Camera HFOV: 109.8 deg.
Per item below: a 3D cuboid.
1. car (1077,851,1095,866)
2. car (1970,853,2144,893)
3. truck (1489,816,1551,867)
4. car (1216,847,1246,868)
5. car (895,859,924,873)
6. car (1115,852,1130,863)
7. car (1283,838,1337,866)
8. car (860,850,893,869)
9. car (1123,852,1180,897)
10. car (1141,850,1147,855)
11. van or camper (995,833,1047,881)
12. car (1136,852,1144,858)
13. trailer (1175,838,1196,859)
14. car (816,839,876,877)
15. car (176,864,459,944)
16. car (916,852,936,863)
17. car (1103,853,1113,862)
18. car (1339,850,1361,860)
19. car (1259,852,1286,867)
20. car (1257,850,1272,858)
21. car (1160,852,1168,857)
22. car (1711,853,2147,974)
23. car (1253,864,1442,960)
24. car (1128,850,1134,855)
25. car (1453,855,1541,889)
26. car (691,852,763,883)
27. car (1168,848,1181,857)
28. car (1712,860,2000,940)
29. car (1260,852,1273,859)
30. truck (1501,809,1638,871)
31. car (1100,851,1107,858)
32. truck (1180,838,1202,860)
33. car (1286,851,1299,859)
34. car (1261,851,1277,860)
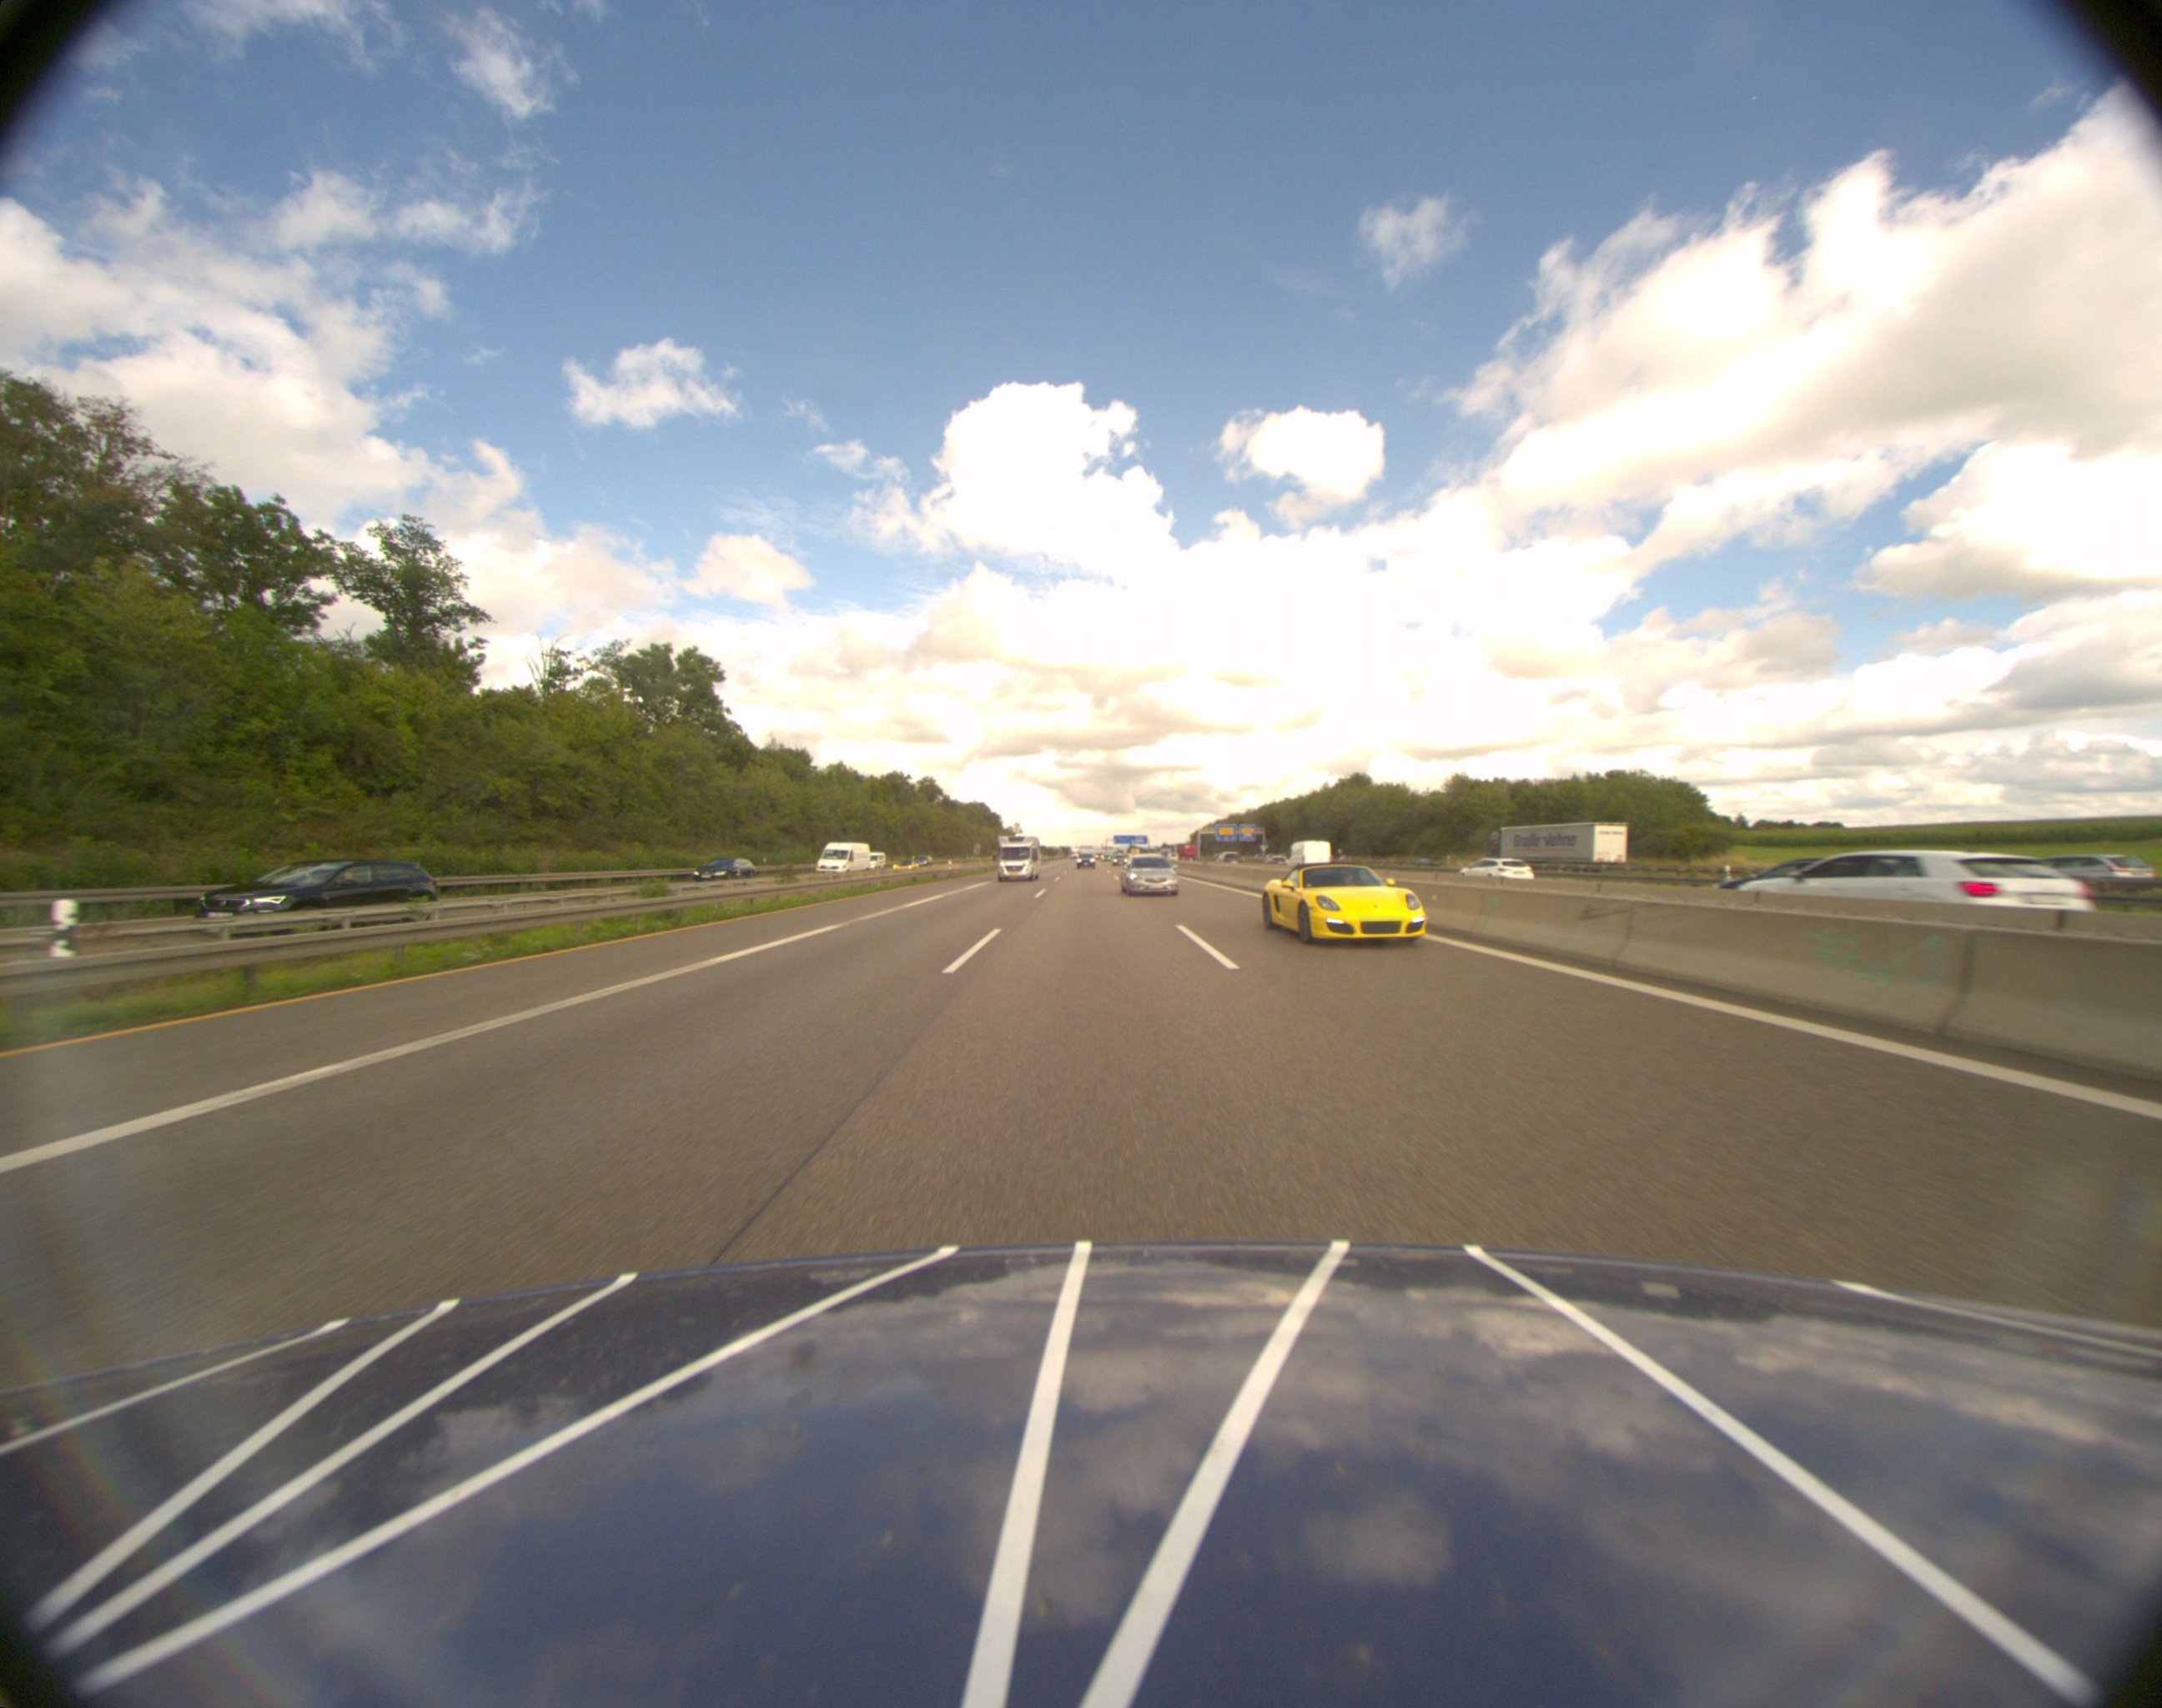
[{"bbox_3d":[0.550,0.461,82.638,1.876,1.626,4.859,-1,0,1],"label":"car"},{"bbox_3d":[41.476,0.766,32.496,1.733,1.525,4.452,-1,1,0],"label":"car"},{"bbox_3d":[42.107,-1.180,73.020,3.053,4.632,5.072,-1,1,1],"label":"truck"},{"bbox_3d":[13.146,0.312,66.768,1.768,1.721,4.702,-2,0,1],"label":"car"},{"bbox_3d":[-16.096,1.101,71.497,1.716,1.175,4.168,-1,0,0],"label":"car"},{"bbox_3d":[5.211,0.407,95.552,1.593,1.307,3.978,1,0,0],"label":"car"},{"bbox_3d":[16.920,-0.175,56.566,2.361,1.956,5.833,-1,0,1],"label":"car"},{"bbox_3d":[-19.749,0.510,73.609,1.848,1.741,4.764,-1,0,1],"label":"car"},{"bbox_3d":[2.518,0.698,28.170,1.687,1.476,4.615,-1,0,0],"label":"car"},{"bbox_3d":[19.404,-0.504,234.471,1.584,1.276,4.241,-1,0,1],"label":"car"},{"bbox_3d":[-3.666,0.136,48.062,2.475,2.706,7.661,-2,0,1],"label":"van or camper"},{"bbox_3d":[15.478,0.313,200.208,1.692,1.496,4.643,-1,0,0],"label":"car"},{"bbox_3d":[22.122,-1.096,161.900,3.054,4.264,10.654,-1,0,0],"label":"trailer"},{"bbox_3d":[-16.458,0.265,53.592,2.075,2.539,6.742,0,0,0],"label":"car"},{"bbox_3d":[-16.944,1.026,17.279,1.848,1.476,4.525,1,0,1],"label":"car"},{"bbox_3d":[-19.844,0.477,97.400,1.716,1.407,4.169,0,0,1],"label":"car"},{"bbox_3d":[5.672,0.694,161.961,1.998,2.002,4.589,0,0,1],"label":"car"},{"bbox_3d":[43.147,0.199,121.945,1.751,1.556,4.804,-1,0,-1],"label":"car"},{"bbox_3d":[20.996,0.586,83.367,1.768,1.523,4.716,-1,0,0],"label":"car"},{"bbox_3d":[39.535,-0.031,164.087,1.998,1.690,5.135,-1,1,0],"label":"car"},{"bbox_3d":[22.056,0.082,202.945,1.659,1.186,4.130,-1,0,0],"label":"car"},{"bbox_3d":[12.905,0.768,12.171,1.768,1.523,4.717,-1,0,1],"label":"car"},{"bbox_3d":[4.387,0.875,13.271,1.811,1.307,4.247,1,0,0],"label":"car"},{"bbox_3d":[15.973,-0.458,244.538,1.761,1.394,4.074,-1,0,1],"label":"car"},{"bbox_3d":[20.733,0.840,38.109,1.730,1.520,4.864,-1,1,0],"label":"car"},{"bbox_3d":[-20.094,0.724,43.360,1.848,1.593,4.764,1,0,0],"label":"car"},{"bbox_3d":[17.674,-0.282,143.754,1.768,1.523,4.941,-1,0,0],"label":"car"},{"bbox_3d":[16.385,0.876,16.477,1.641,1.395,4.491,-1,1,0],"label":"car"},{"bbox_3d":[39.271,0.284,160.898,1.671,1.547,4.000,-1,1,1],"label":"car"},{"bbox_3d":[42.039,-1.181,66.376,3.081,4.775,14.126,-1,1,1],"label":"truck"},{"bbox_3d":[6.457,0.160,217.757,1.998,1.846,4.286,-1,1,1],"label":"car"},{"bbox_3d":[22.084,-0.917,152.777,3.054,4.264,8.588,-1,0,0],"label":"truck"},{"bbox_3d":[42.065,0.236,151.138,1.671,1.547,4.000,-1,1,1],"label":"car"},{"bbox_3d":[34.848,0.248,141.026,1.768,1.523,4.941,-1,0,0],"label":"car"}]
